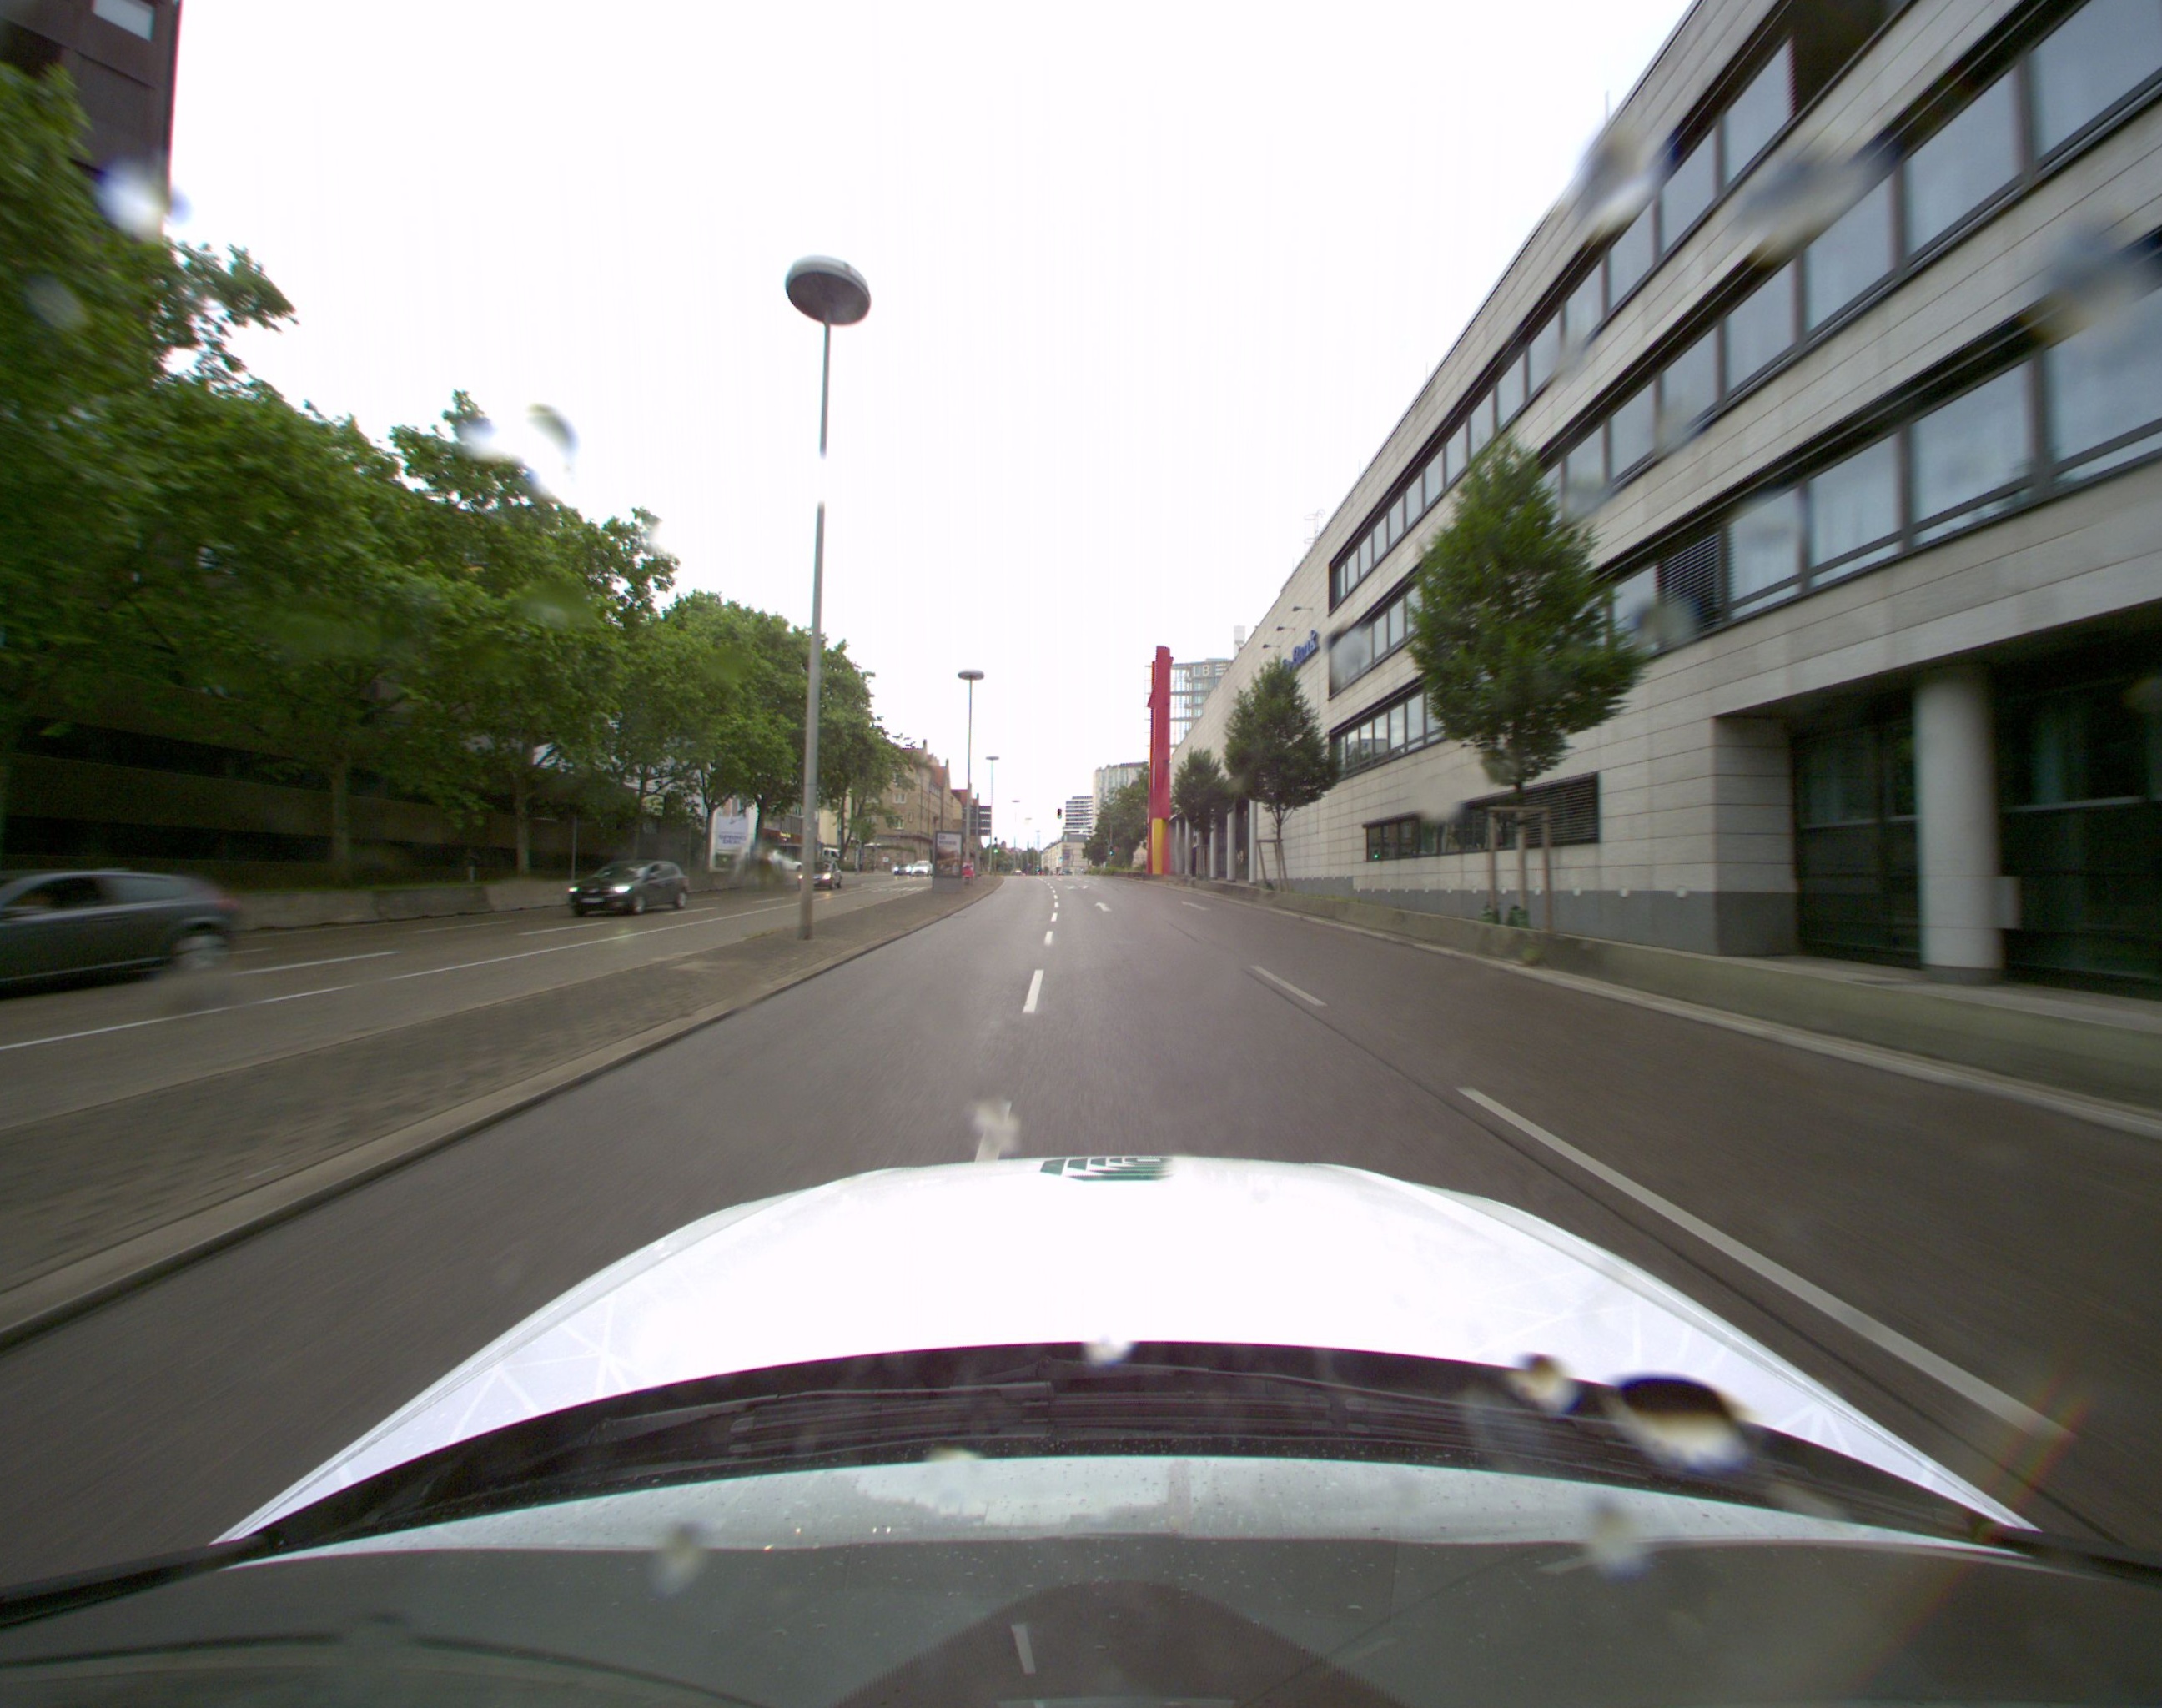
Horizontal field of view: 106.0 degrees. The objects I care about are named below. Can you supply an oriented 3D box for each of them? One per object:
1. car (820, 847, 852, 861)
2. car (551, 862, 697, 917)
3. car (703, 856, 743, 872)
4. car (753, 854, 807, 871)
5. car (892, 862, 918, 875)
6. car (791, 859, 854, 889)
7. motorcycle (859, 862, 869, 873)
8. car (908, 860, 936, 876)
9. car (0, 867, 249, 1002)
[{"bbox_3d":[-31.602,0.010,105.129,3.621,1.701,1.822,-1,-1,-4],"label":"car"},{"bbox_3d":[-12.911,0.979,23.329,1.813,1.403,4.001,-1,-1,1],"label":"car"},{"bbox_3d":[-34.126,0.968,77.600,1.262,1.426,3.210,-3,-2,44],"label":"car"},{"bbox_3d":[-28.846,0.825,78.126,1.802,1.511,4.607,-2,-2,37],"label":"car"},{"bbox_3d":[-18.655,1.552,86.440,1.813,1.385,4.001,-1,-1,1],"label":"car"},{"bbox_3d":[-13.172,1.031,41.709,1.813,1.403,4.001,-1,-1,1],"label":"car"},{"bbox_3d":[-26.281,1.632,98.674,0.779,1.257,2.989,0,0,-7],"label":"motorcycle"},{"bbox_3d":[-15.294,1.368,78.522,1.813,1.468,4.001,-1,-1,1],"label":"car"},{"bbox_3d":[-12.520,0.898,9.454,1.682,1.410,3.997,-1,0,-2],"label":"car"}]
